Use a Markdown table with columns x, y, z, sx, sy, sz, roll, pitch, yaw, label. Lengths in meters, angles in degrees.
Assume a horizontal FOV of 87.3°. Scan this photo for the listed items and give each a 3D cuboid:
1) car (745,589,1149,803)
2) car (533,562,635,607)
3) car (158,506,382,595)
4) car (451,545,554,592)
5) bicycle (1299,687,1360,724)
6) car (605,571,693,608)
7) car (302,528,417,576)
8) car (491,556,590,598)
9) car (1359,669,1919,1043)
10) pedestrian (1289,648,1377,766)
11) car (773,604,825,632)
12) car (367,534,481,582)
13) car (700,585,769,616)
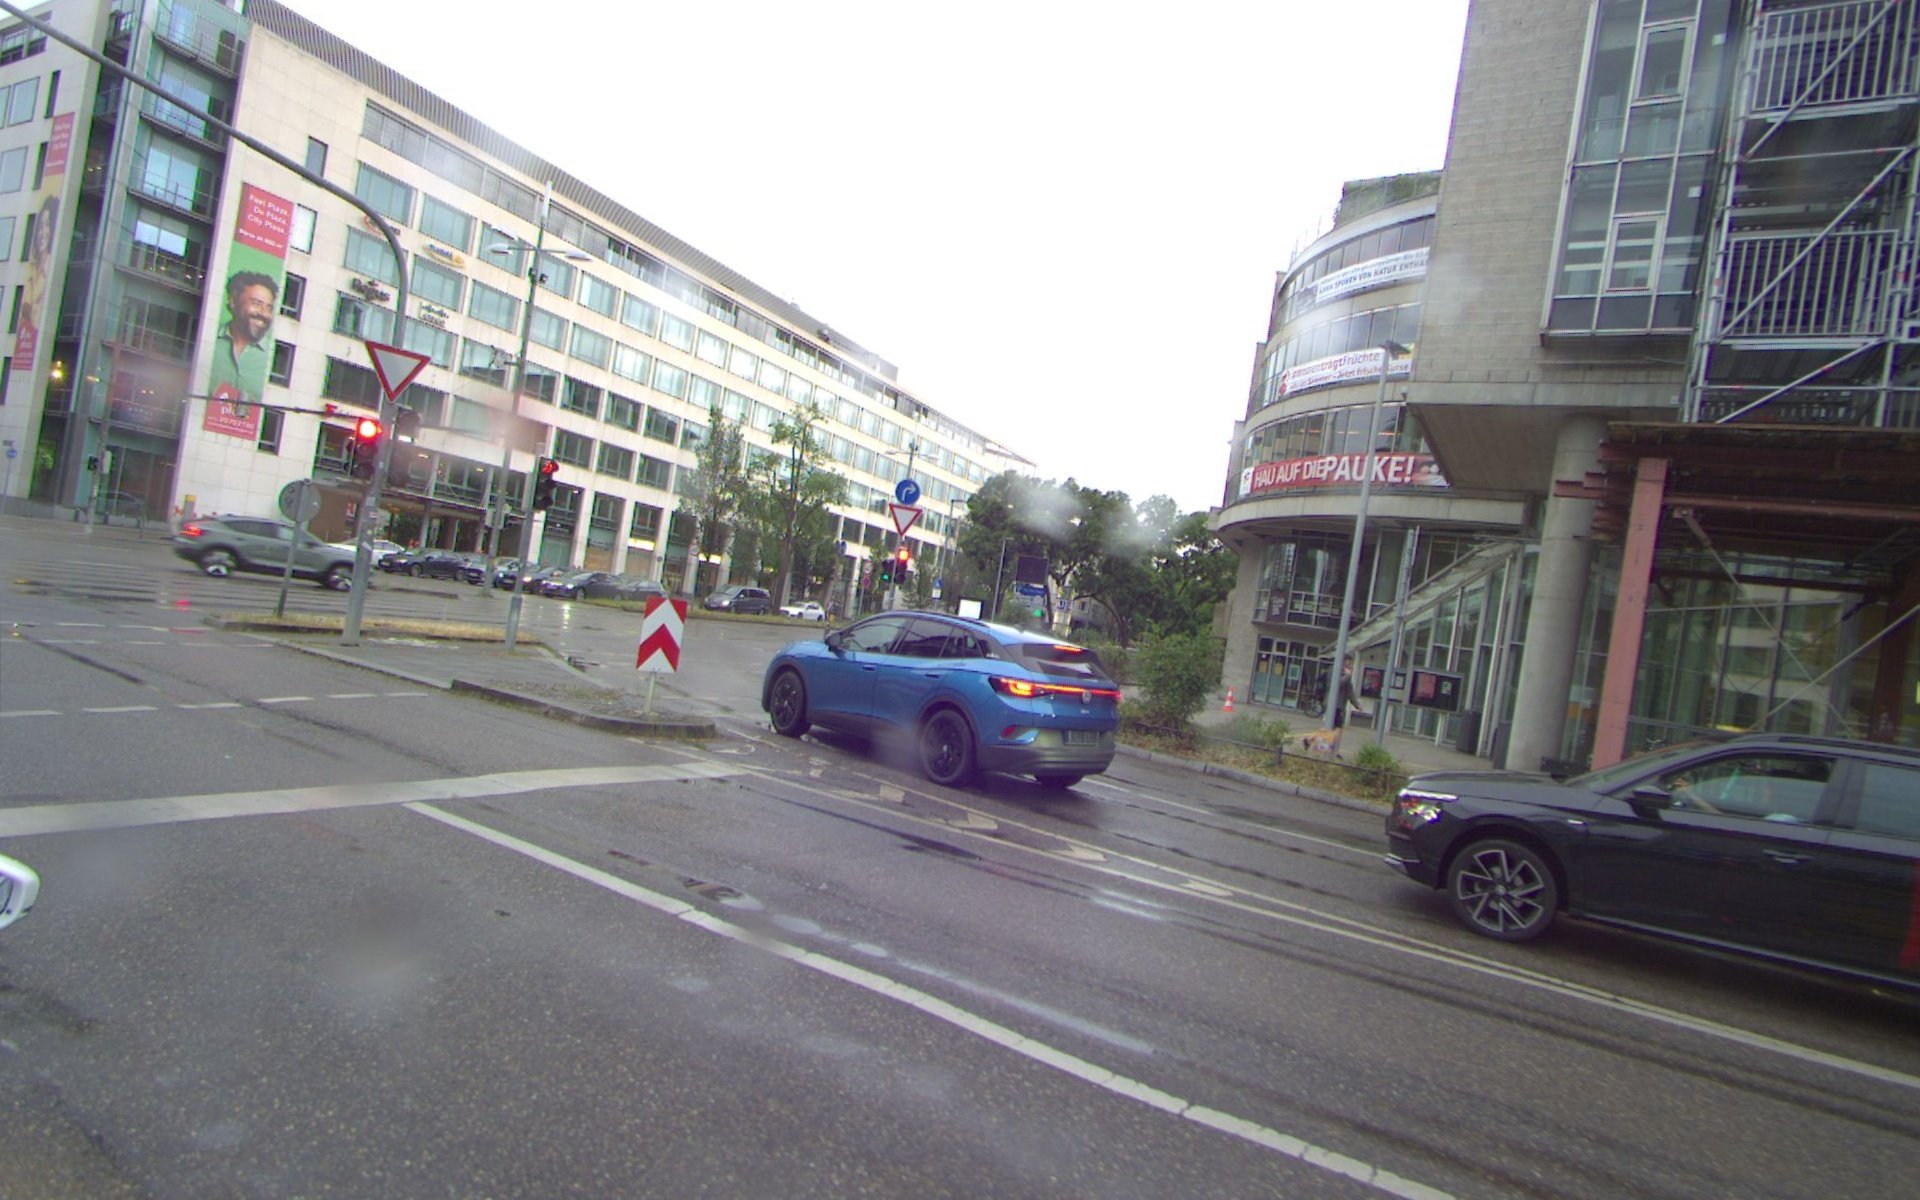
| x | y | z | sx | sy | sz | roll | pitch | yaw | label |
| --- | --- | --- | --- | --- | --- | --- | --- | --- | --- |
| -0.346 | 0.904 | 10.795 | 1.699 | 1.547 | 4.373 | 9 | -1 | -43 | car |
| -16.796 | -0.664 | 45.164 | 1.690 | 1.481 | 4.468 | 7 | -1 | 19 | car |
| -17.980 | -1.261 | 26.333 | 4.526 | 1.568 | 1.977 | 9 | -1 | -42 | car |
| -22.141 | -1.480 | 48.906 | 1.962 | 1.616 | 4.469 | 8 | -1 | 17 | car |
| 13.135 | 3.746 | 35.809 | 1.816 | 0.995 | 0.757 | 8 | -1 | 12 | bicycle |
| -16.160 | -0.498 | 52.502 | 1.891 | 1.364 | 4.653 | 7 | -1 | 19 | car |
| -28.933 | -2.256 | 48.646 | 1.962 | 1.616 | 4.469 | 8 | -1 | 17 | car |
| -19.431 | -1.037 | 46.802 | 1.690 | 1.364 | 4.469 | 8 | -1 | 17 | car |
| 4.934 | 1.528 | 6.344 | 4.080 | 1.558 | 1.780 | 7 | -1 | 34 | car |
| 6.513 | 1.859 | 17.575 | 0.677 | 1.874 | 1.044 | 7 | 0 | -40 | pedestrian |
| -11.950 | 1.347 | 75.053 | 1.700 | 1.642 | 4.196 | 9 | 0 | 22 | car |
| -25.469 | -1.948 | 47.980 | 1.963 | 1.616 | 4.467 | 7 | -1 | 20 | car |
| -13.922 | 0.078 | 62.388 | 1.891 | 1.364 | 4.653 | 7 | -1 | 19 | car |
